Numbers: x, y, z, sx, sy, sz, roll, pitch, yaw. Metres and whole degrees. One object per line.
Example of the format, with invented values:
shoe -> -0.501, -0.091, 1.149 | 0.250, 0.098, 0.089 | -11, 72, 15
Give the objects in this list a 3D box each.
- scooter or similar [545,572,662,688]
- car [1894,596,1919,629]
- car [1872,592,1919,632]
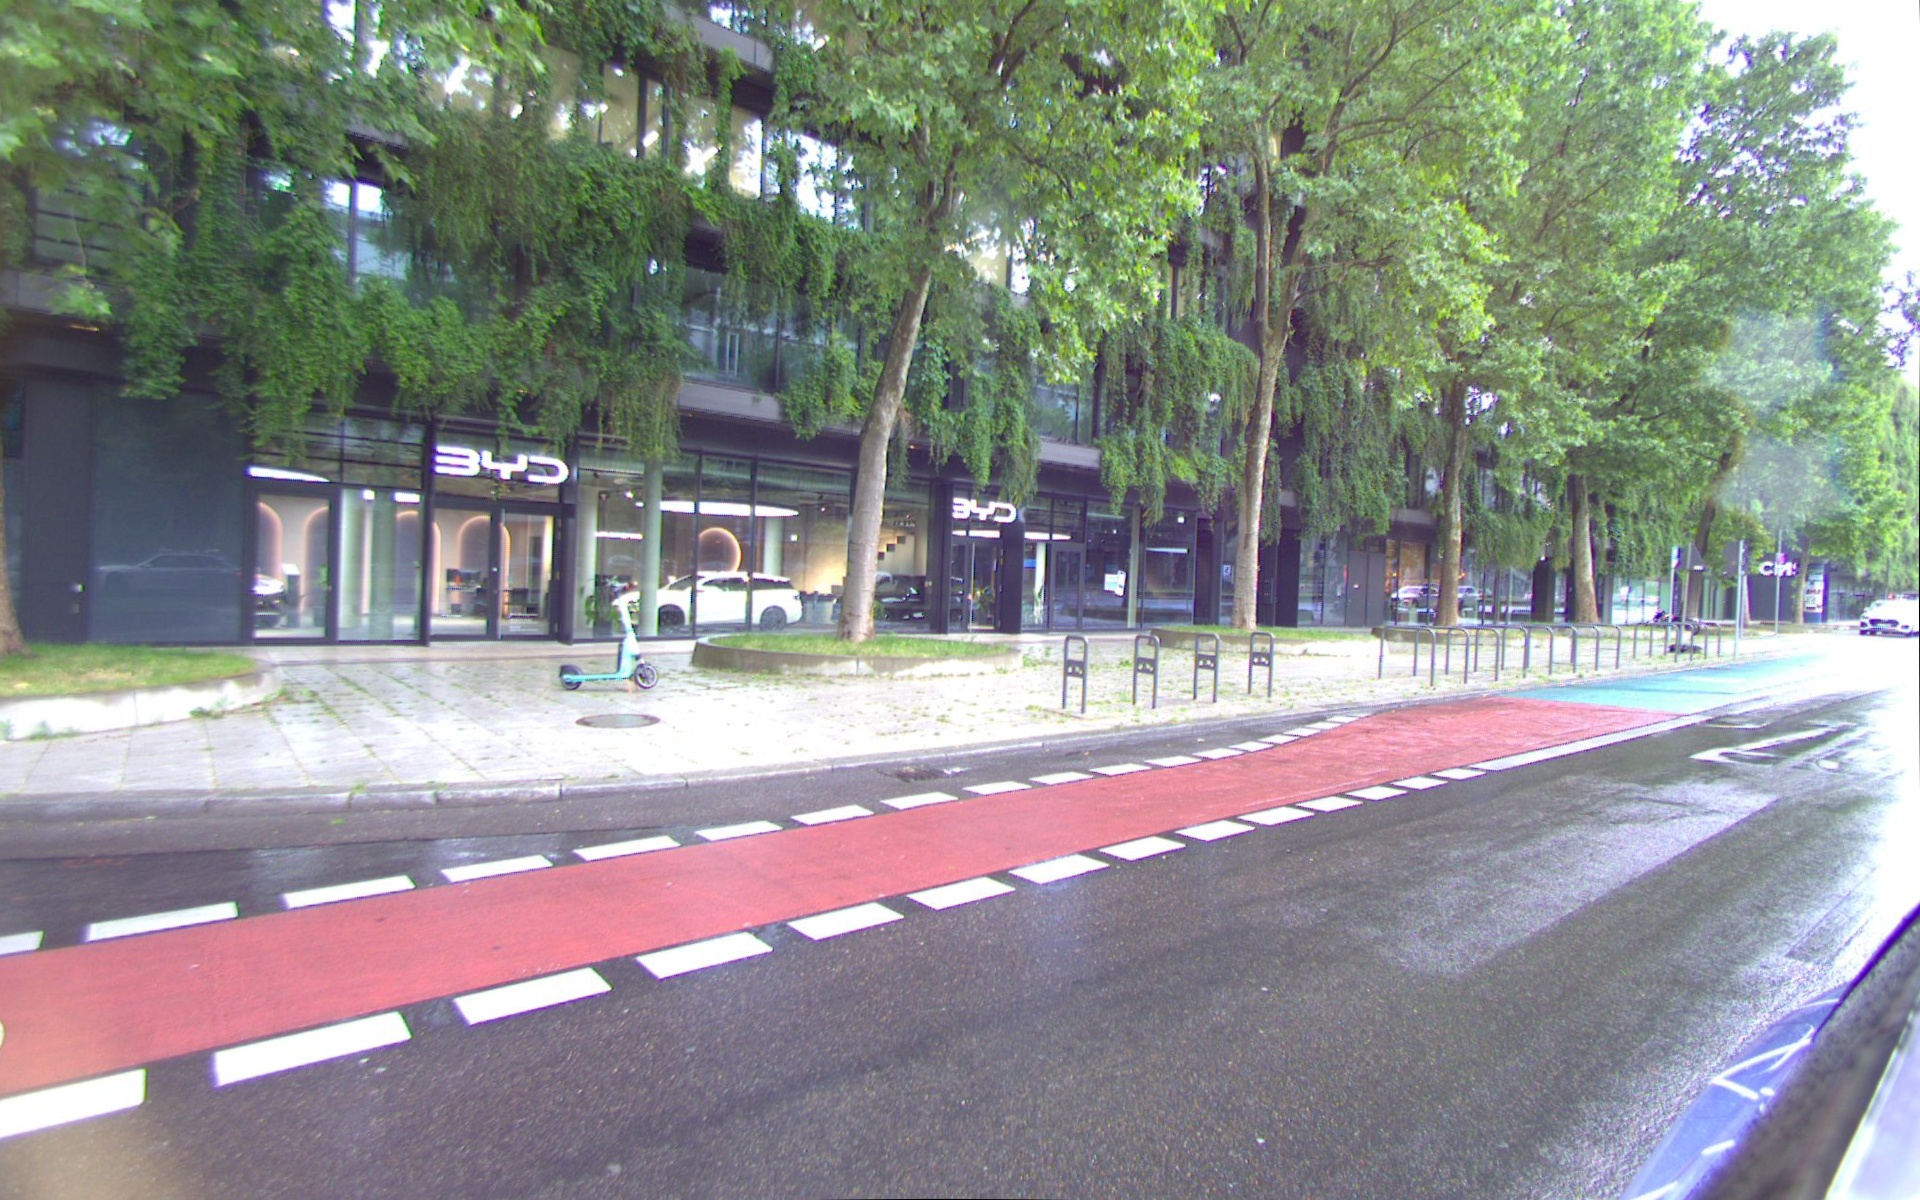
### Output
scooter or similar -> -4.088, 0.331, 11.623 | 1.165, 1.298, 0.535 | 0, 0, 10
car -> 49.253, 0.631, 51.386 | 4.503, 1.581, 2.035 | -1, 1, -39
car -> 44.614, 0.530, 47.697 | 4.519, 1.757, 1.931 | -1, 1, -41
